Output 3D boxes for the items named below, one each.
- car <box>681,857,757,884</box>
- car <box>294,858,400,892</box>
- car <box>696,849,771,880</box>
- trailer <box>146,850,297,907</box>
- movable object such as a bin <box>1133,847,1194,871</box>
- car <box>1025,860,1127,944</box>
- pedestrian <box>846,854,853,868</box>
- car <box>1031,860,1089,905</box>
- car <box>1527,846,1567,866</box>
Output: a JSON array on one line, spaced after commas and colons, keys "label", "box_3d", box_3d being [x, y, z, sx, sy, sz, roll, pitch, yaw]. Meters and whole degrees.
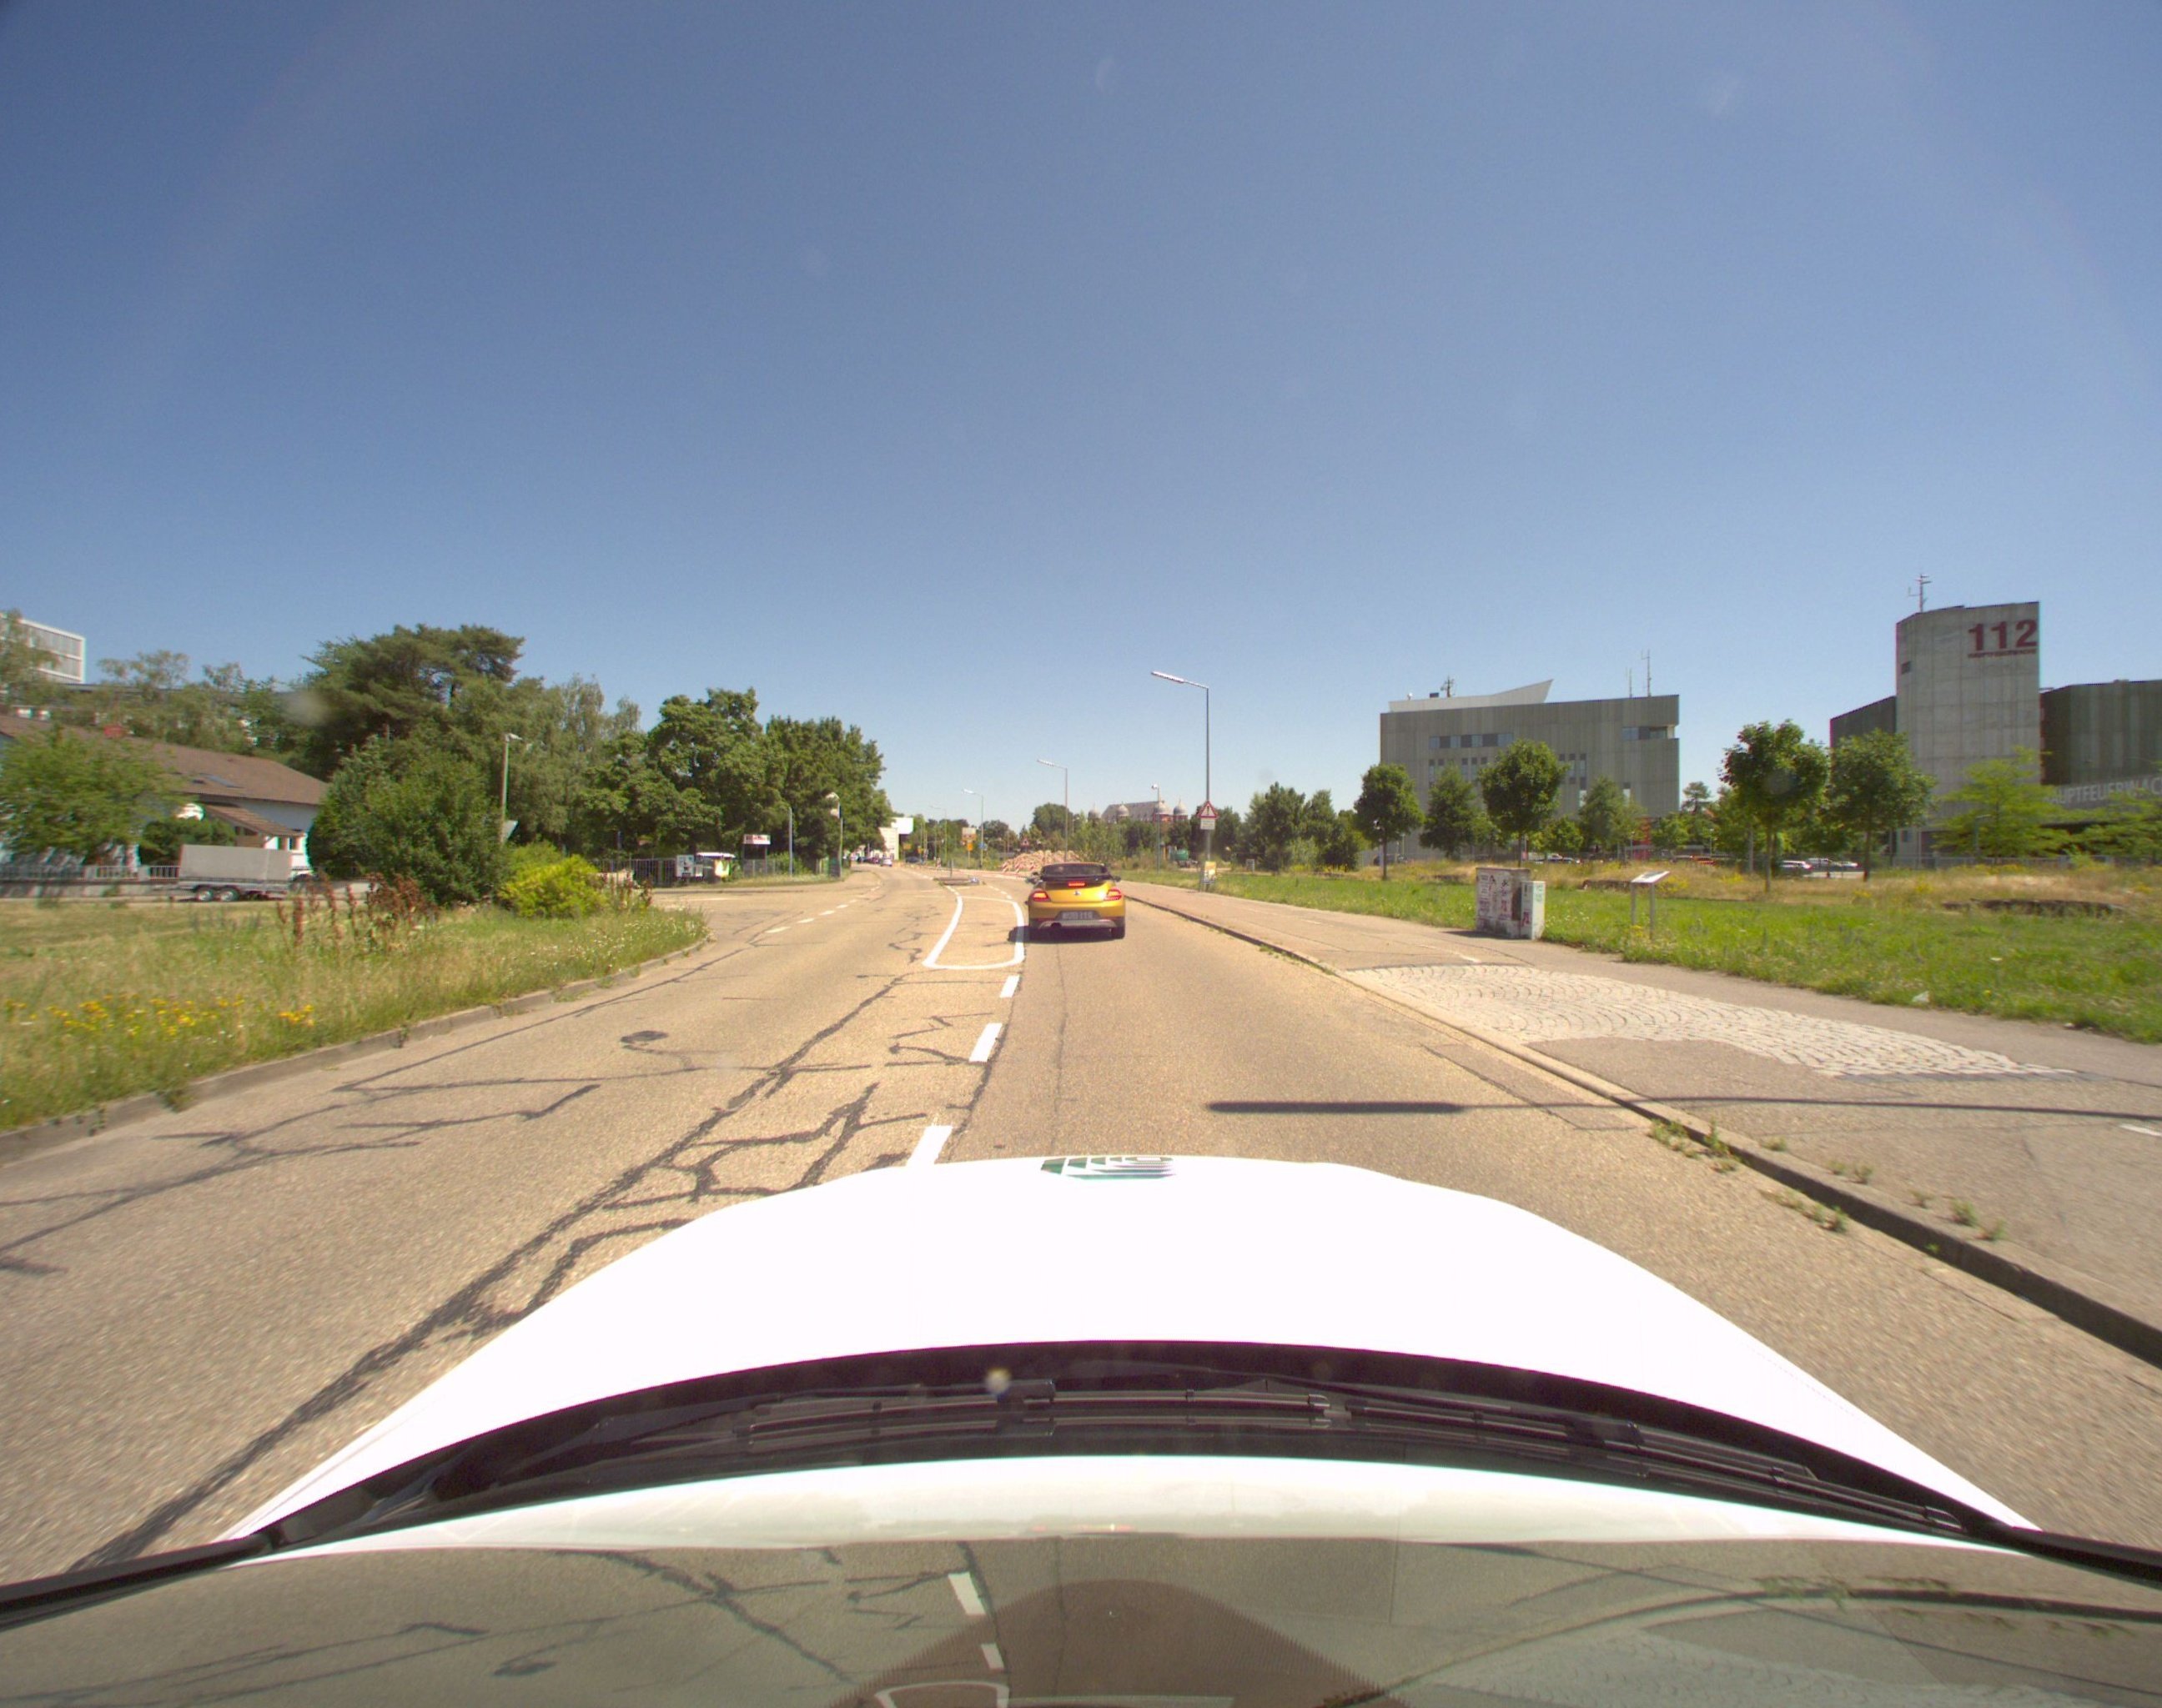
[{"label": "car", "box_3d": [-21.437, 0.937, 48.340, 3.868, 1.526, 1.801, 0, 0, -15]}, {"label": "car", "box_3d": [-35.414, 1.003, 39.384, 3.339, 1.577, 1.764, 0, -1, -15]}, {"label": "car", "box_3d": [-23.222, 0.700, 54.517, 4.307, 1.977, 1.776, 0, -1, -11]}, {"label": "trailer", "box_3d": [-32.032, 0.894, 30.463, 3.421, 2.045, 1.751, 0, -1, -16]}, {"label": "movable object such as a bin", "box_3d": [11.674, 0.698, 117.160, 4.954, 3.260, 10.401, 0, 0, -19]}, {"label": "car", "box_3d": [-0.048, 0.864, 16.184, 1.784, 1.436, 3.814, 0, 0, 1]}, {"label": "pedestrian", "box_3d": [-29.391, 0.879, 103.331, 0.725, 1.725, 0.812, 0, -1, -22]}, {"label": "car", "box_3d": [-0.792, 0.945, 28.333, 1.724, 1.443, 3.991, 0, 0, -6]}, {"label": "car", "box_3d": [52.563, 0.242, 91.878, 3.807, 2.294, 1.752, 0, -1, 25]}]
